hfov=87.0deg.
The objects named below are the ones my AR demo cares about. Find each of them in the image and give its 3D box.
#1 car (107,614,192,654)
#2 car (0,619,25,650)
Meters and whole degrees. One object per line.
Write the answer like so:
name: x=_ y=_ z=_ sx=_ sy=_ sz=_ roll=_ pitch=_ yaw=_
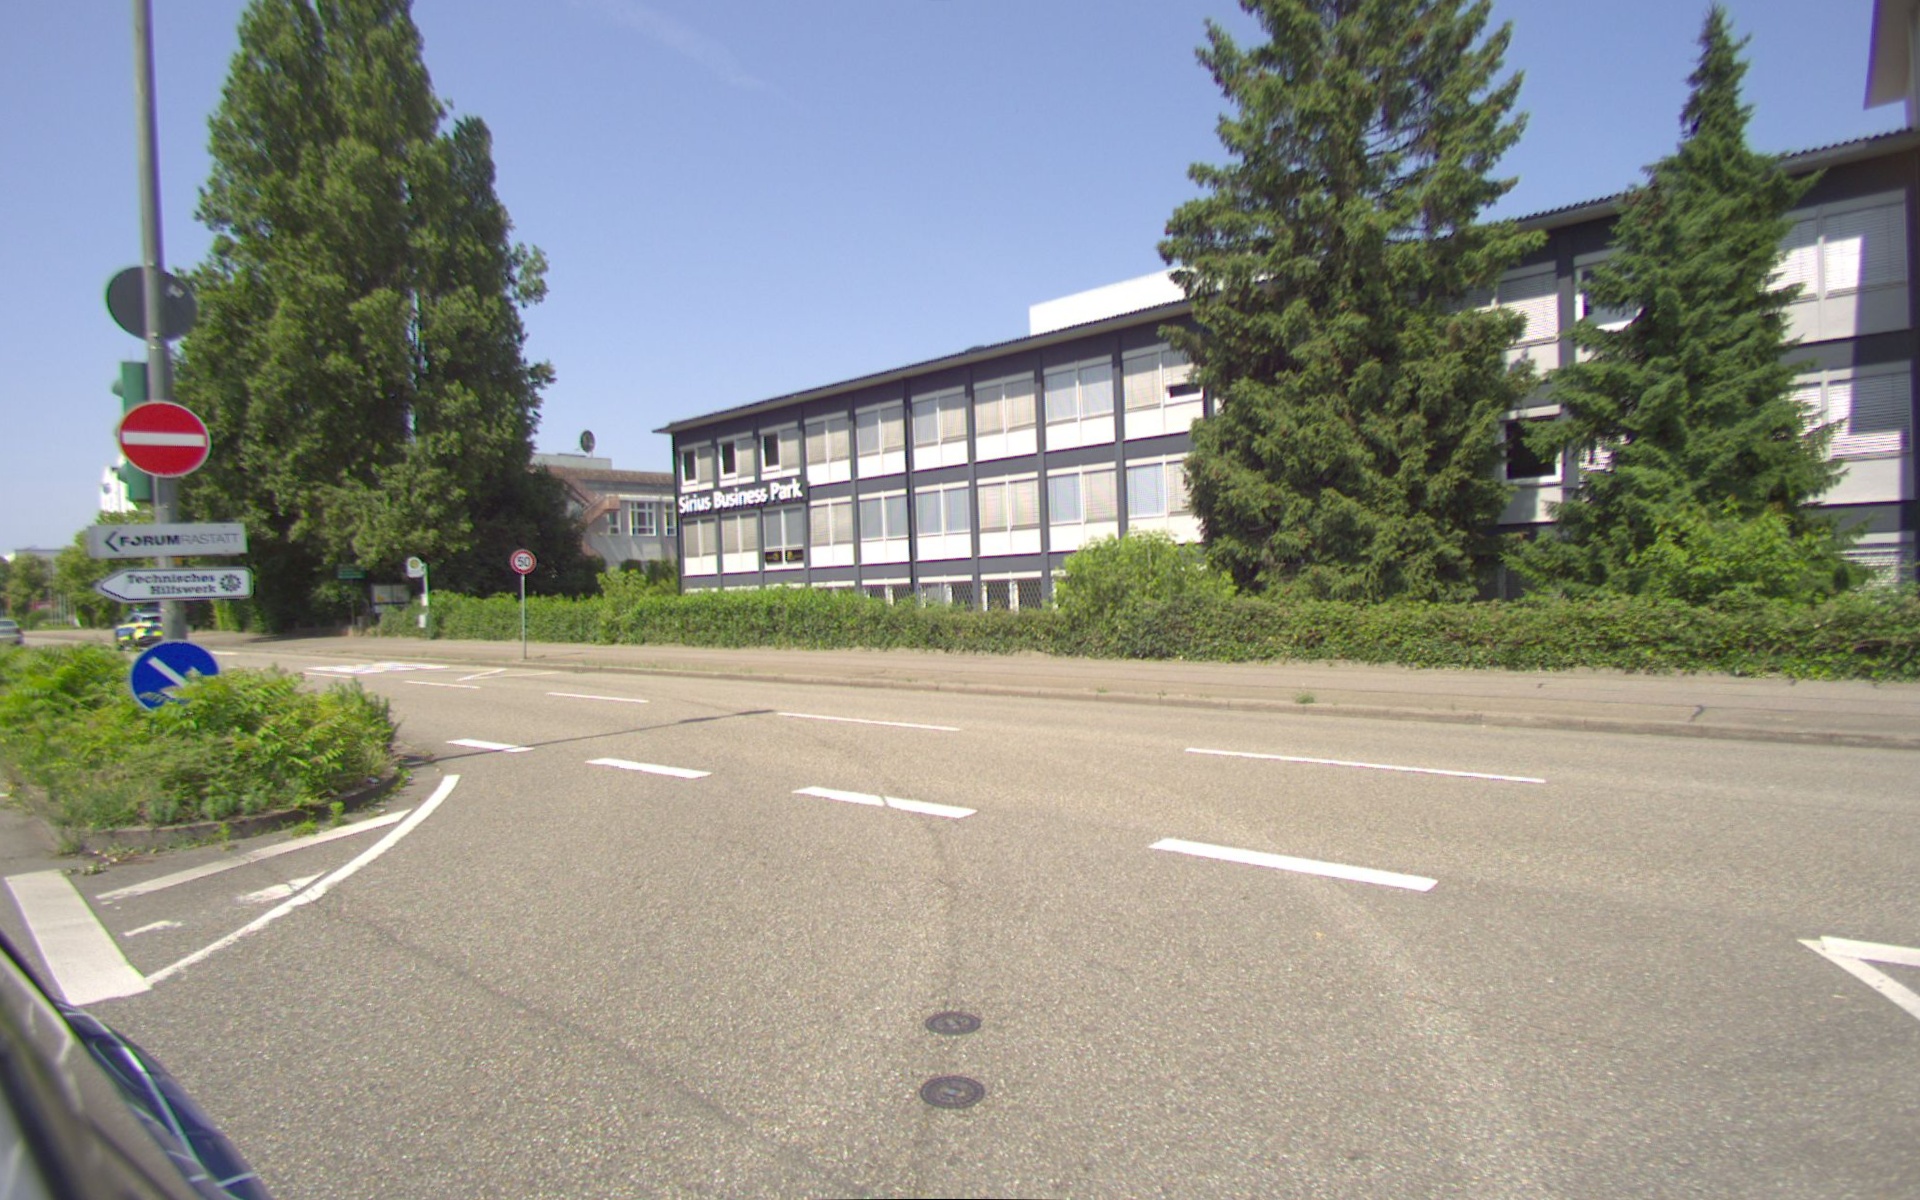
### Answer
car: x=-33.944 y=1.401 z=42.351 sx=4.281 sy=1.572 sz=1.876 roll=-1 pitch=0 yaw=38
car: x=-47.473 y=1.679 z=49.673 sx=4.087 sy=1.429 sz=1.742 roll=-1 pitch=1 yaw=39
